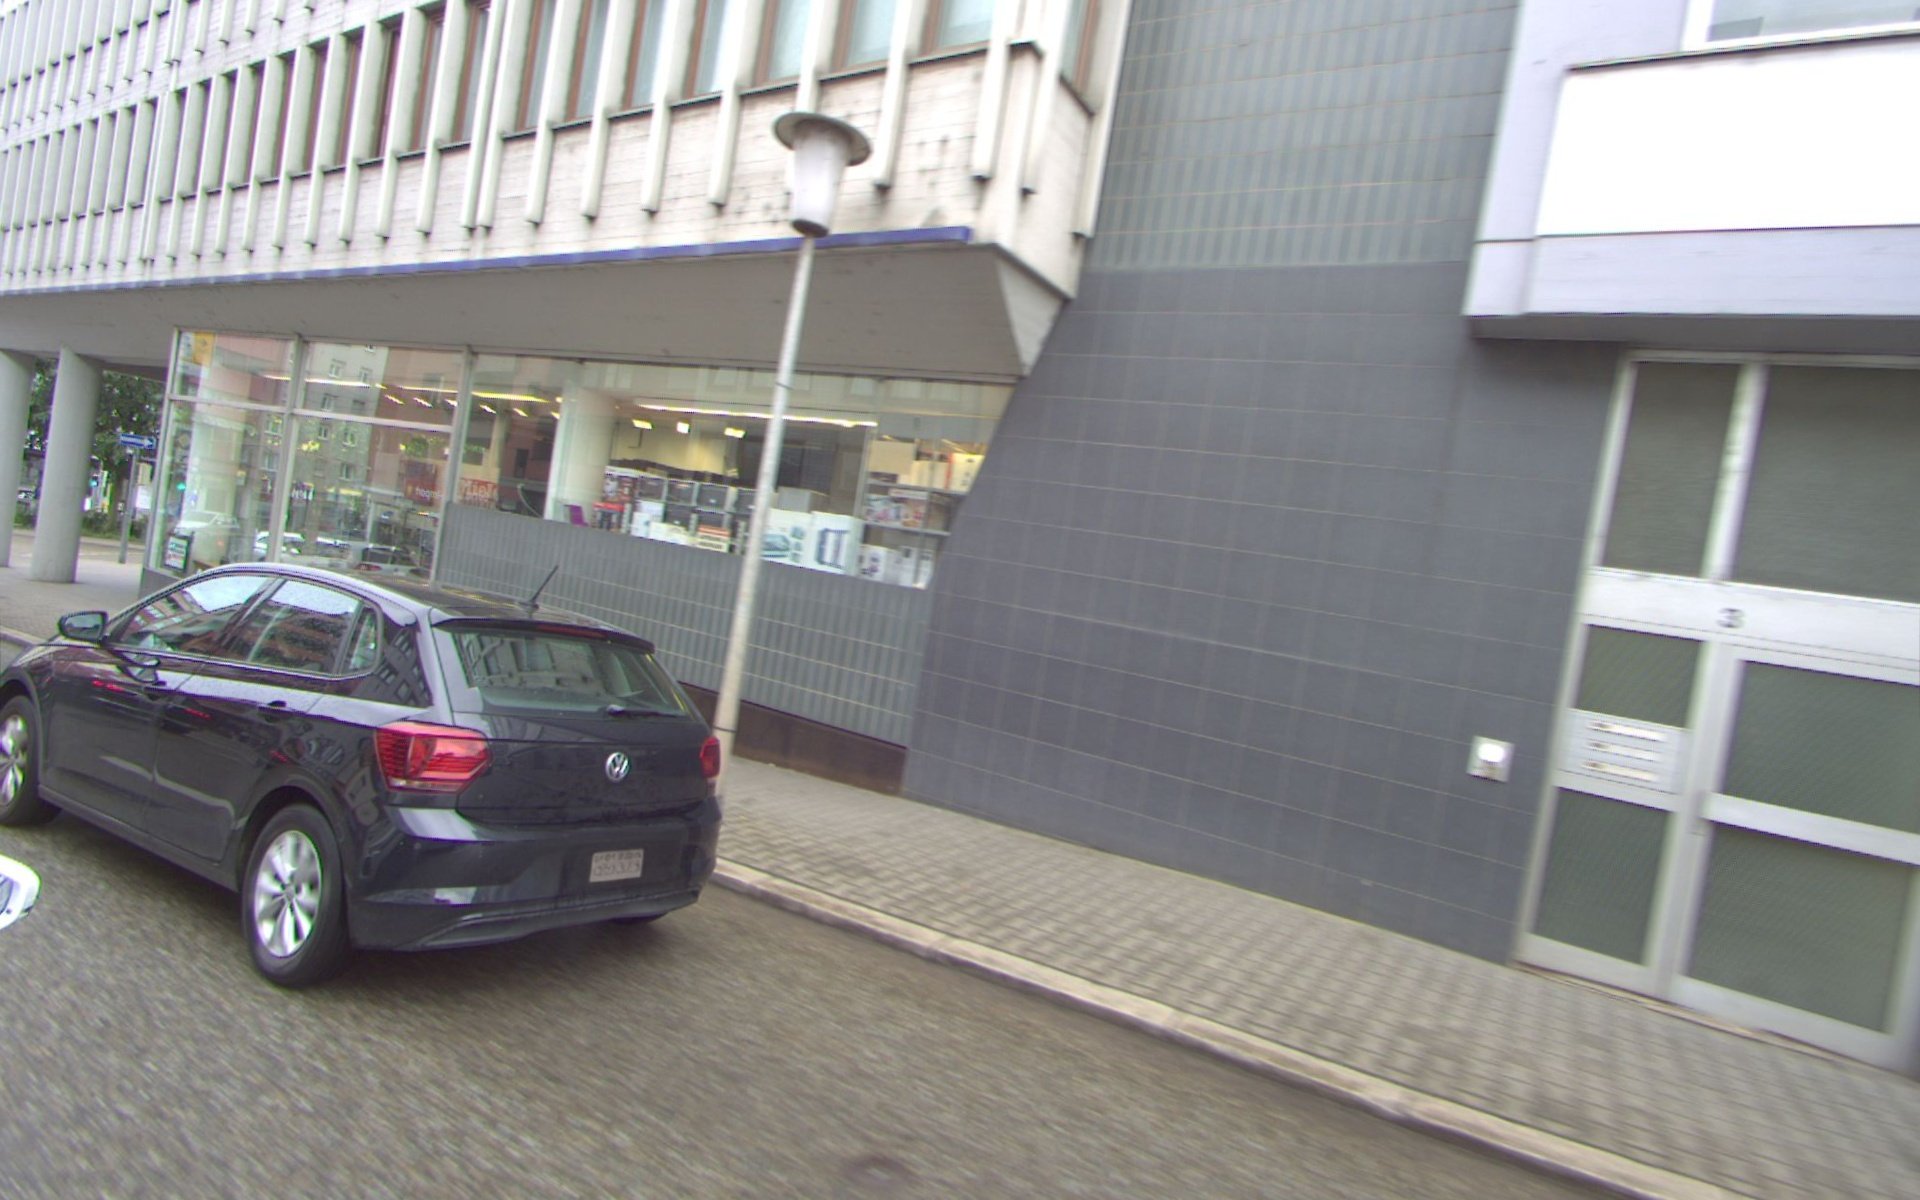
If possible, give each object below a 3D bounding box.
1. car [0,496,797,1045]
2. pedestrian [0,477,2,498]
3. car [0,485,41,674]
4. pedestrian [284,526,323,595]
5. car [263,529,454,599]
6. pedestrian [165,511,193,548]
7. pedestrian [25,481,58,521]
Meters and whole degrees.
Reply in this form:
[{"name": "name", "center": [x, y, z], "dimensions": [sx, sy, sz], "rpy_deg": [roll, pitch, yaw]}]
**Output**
[{"name": "car", "center": [-2.936, 0.518, 4.803], "dimensions": [3.933, 1.493, 1.694], "rpy_deg": [7, -4, 31]}, {"name": "pedestrian", "center": [-50.140, -5.550, 51.779], "dimensions": [0.818, 1.711, 1.029], "rpy_deg": [15, 5, 41]}, {"name": "car", "center": [-11.019, -0.504, 9.741], "dimensions": [4.432, 1.713, 1.902], "rpy_deg": [7, -4, 33]}, {"name": "pedestrian", "center": [-17.184, -1.030, 26.323], "dimensions": [0.717, 1.711, 0.822], "rpy_deg": [4, 2, -37]}, {"name": "car", "center": [-18.977, -1.108, 31.985], "dimensions": [4.779, 1.512, 1.850], "rpy_deg": [8, -1, -17]}, {"name": "pedestrian", "center": [-42.716, -3.863, 55.032], "dimensions": [0.818, 1.847, 0.884], "rpy_deg": [10, -1, -31]}, {"name": "pedestrian", "center": [-48.149, -5.194, 52.735], "dimensions": [0.818, 1.823, 1.029], "rpy_deg": [15, 5, 41]}]
